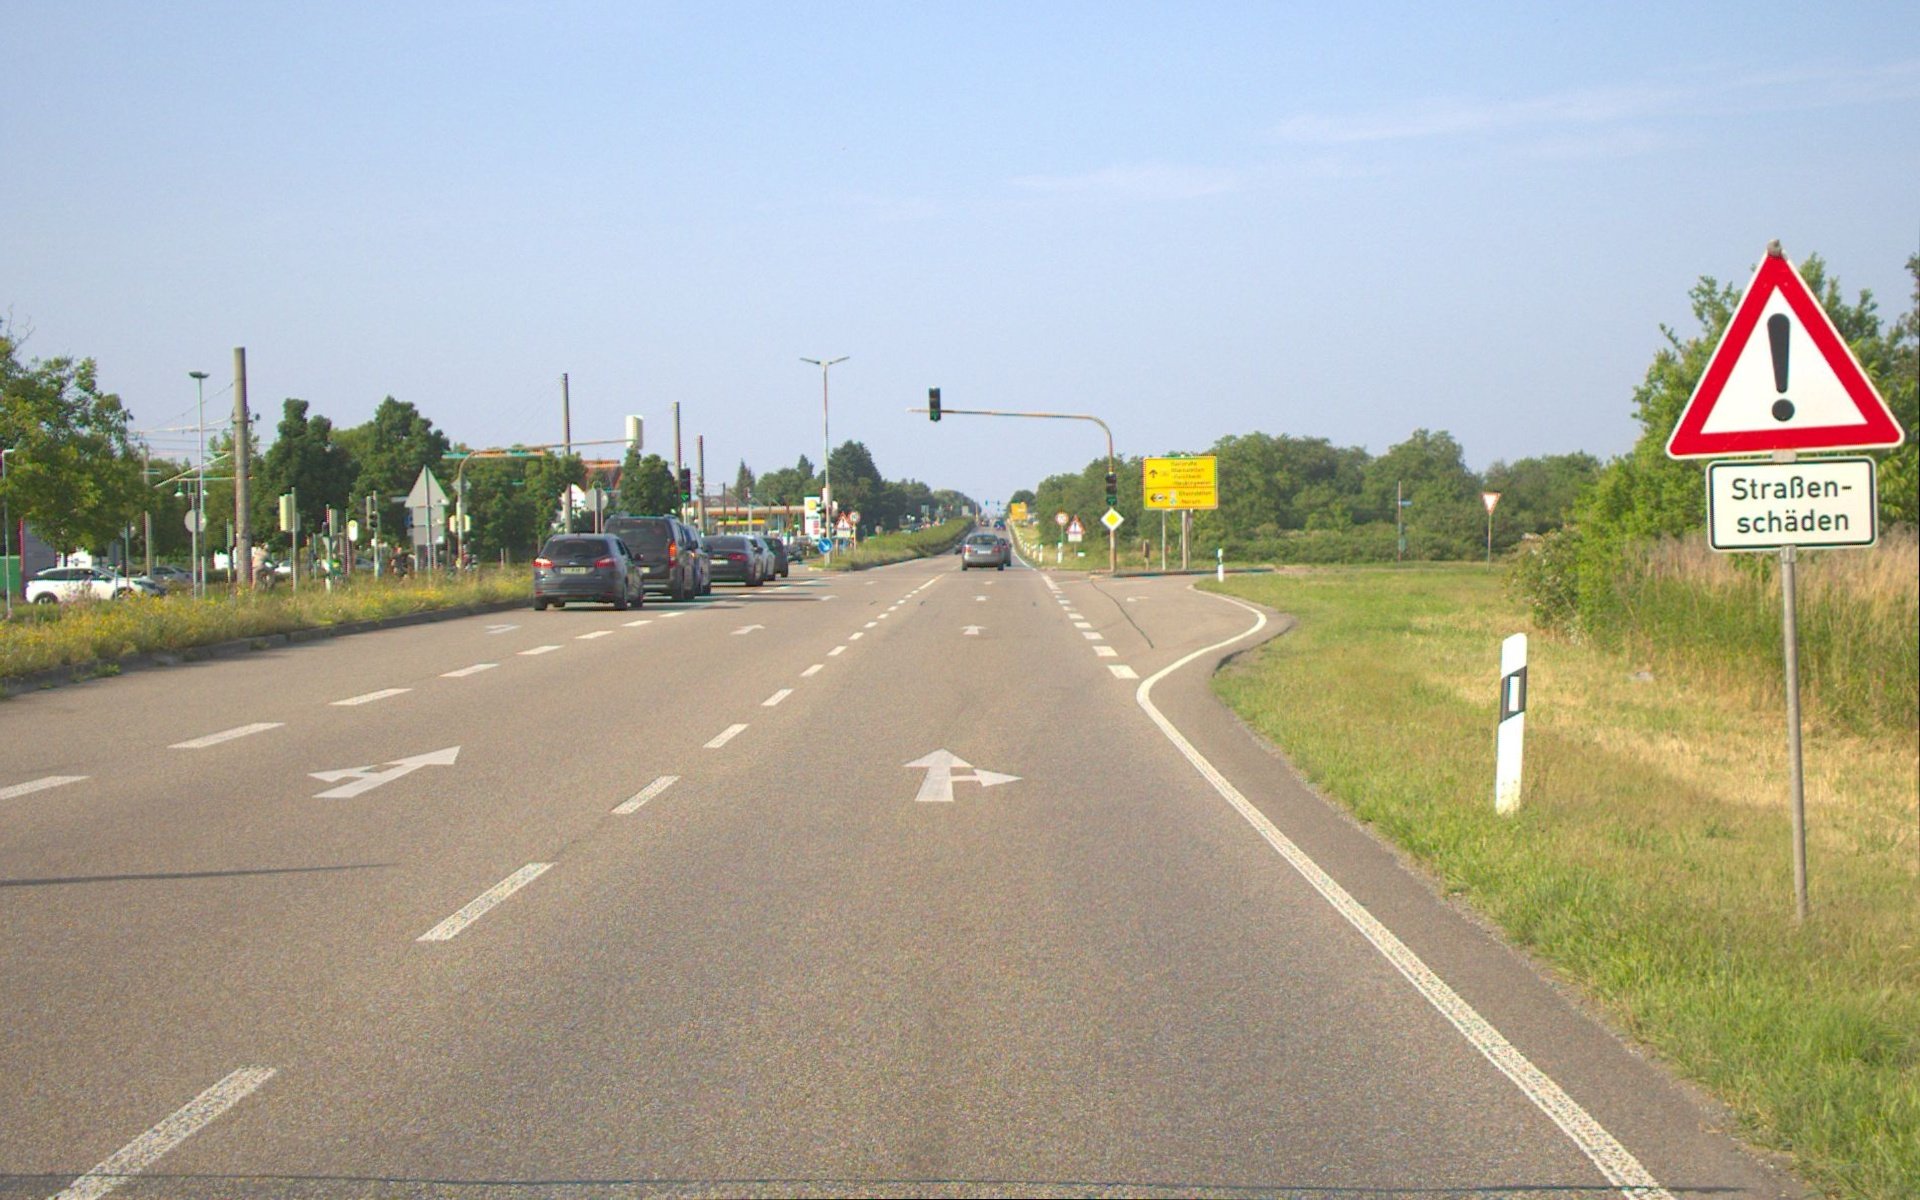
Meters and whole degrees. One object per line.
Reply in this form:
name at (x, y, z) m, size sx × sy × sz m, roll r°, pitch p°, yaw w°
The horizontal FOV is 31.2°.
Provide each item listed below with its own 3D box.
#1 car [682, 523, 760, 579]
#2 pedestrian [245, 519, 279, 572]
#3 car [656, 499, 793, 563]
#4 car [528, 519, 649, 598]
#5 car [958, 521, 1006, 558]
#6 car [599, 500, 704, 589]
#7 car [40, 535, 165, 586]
car at (-6.571, -1.366, 94.786) m, size 1.770 × 1.466 × 4.015 m, roll 0°, pitch 1°, yaw 1°
pedestrian at (-22.644, -1.756, 111.515) m, size 0.915 × 1.700 × 1.067 m, roll 1°, pitch 0°, yaw -5°
car at (-8.043, -2.320, 117.119) m, size 1.995 × 2.007 × 4.833 m, roll 0°, pitch -1°, yaw -44°
car at (-7.177, -0.832, 66.800) m, size 1.732 × 1.451 × 4.520 m, roll 0°, pitch 1°, yaw 1°
car at (0.963, -2.606, 147.221) m, size 1.993 × 1.546 × 4.000 m, roll 0°, pitch 1°, yaw 1°
car at (-6.616, -1.216, 74.018) m, size 1.732 × 1.849 × 4.520 m, roll 0°, pitch 1°, yaw 1°
car at (-29.259, -1.336, 117.401) m, size 3.986 × 1.656 × 1.888 m, roll 1°, pitch 0°, yaw -11°
